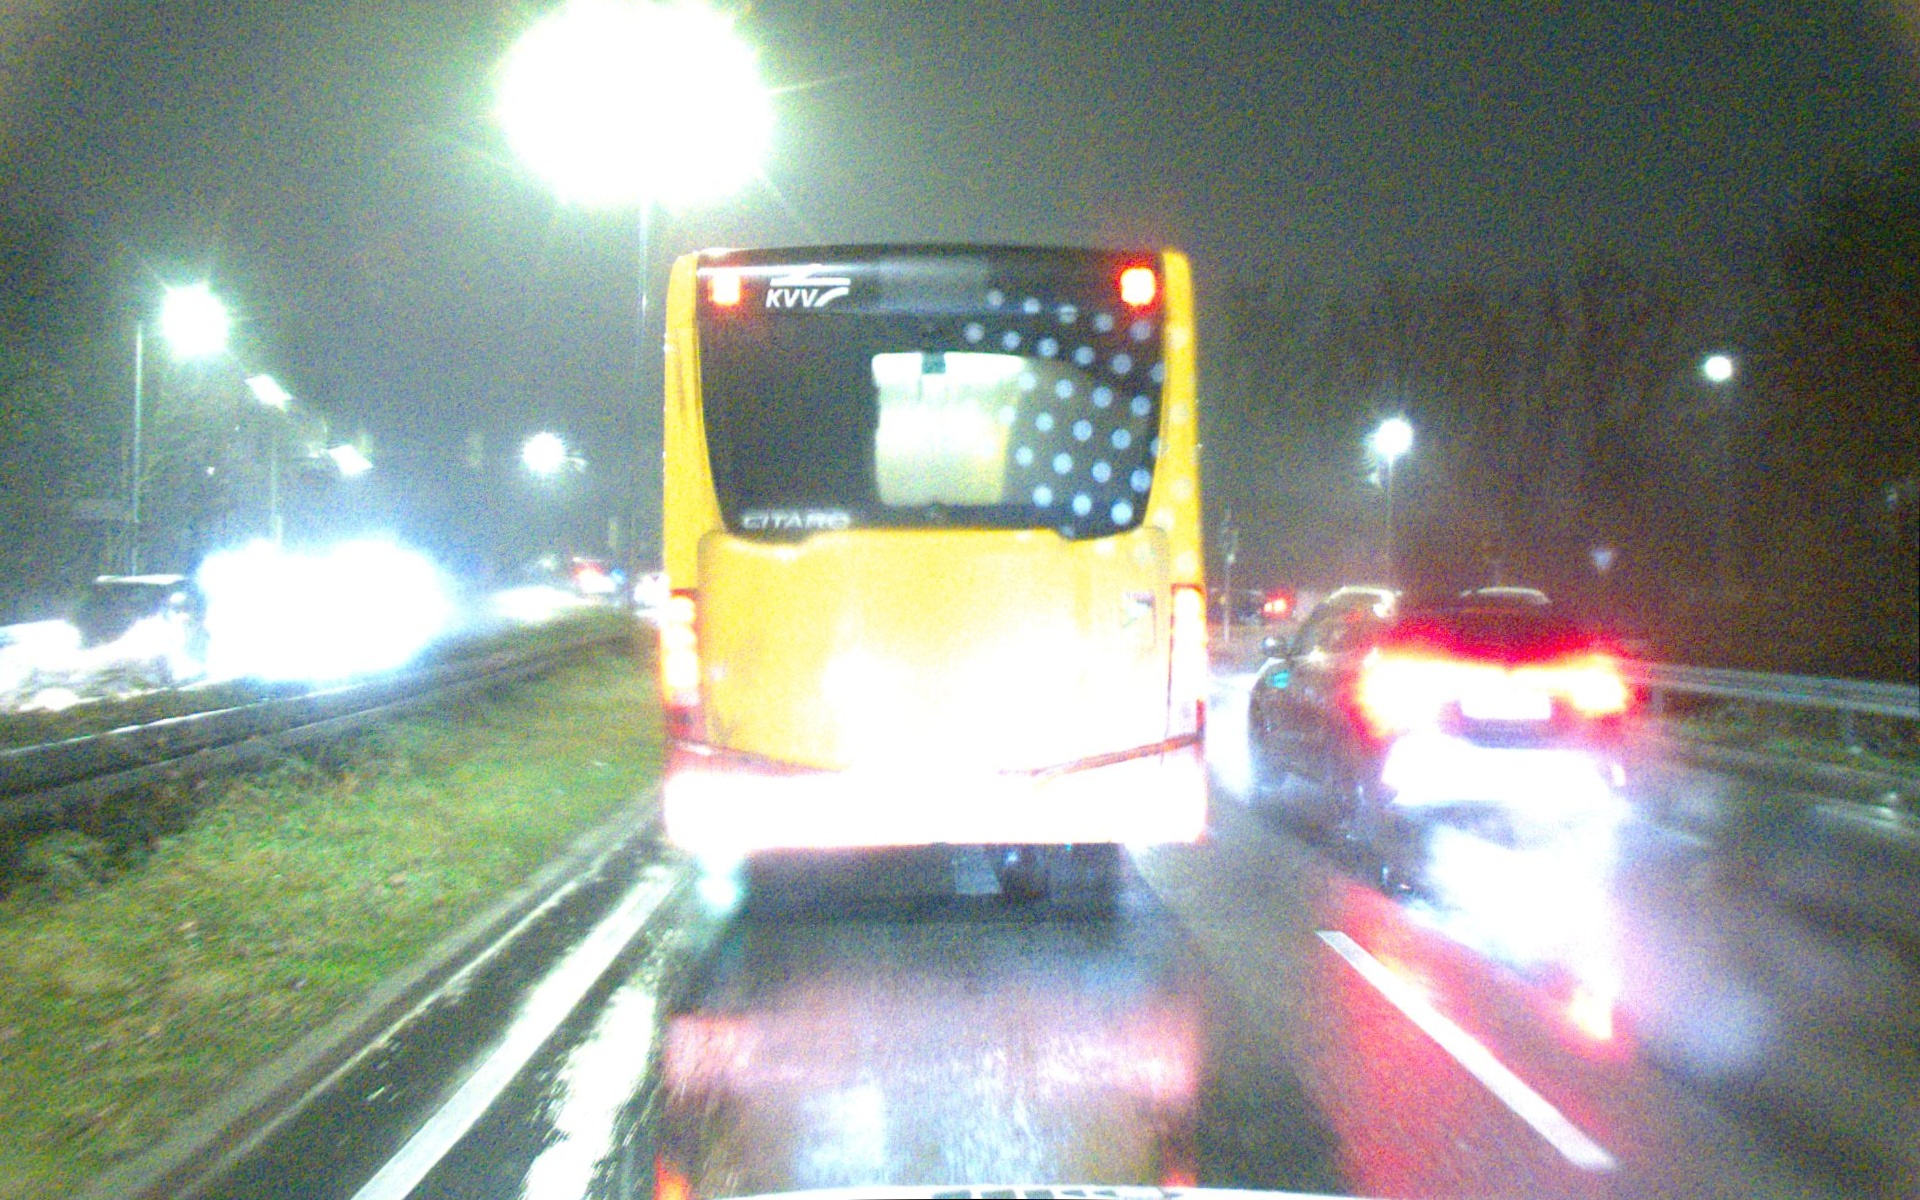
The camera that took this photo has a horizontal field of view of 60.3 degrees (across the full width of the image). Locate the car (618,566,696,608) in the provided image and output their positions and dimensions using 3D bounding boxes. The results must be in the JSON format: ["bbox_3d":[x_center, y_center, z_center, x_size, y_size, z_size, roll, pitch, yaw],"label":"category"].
[{"bbox_3d":[-12.735,-0.534,69.410,2.067,1.672,3.692,1,-1,-30],"label":"car"}]

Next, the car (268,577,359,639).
[{"bbox_3d":[-17.350,0.179,44.511,1.817,1.598,3.495,0,1,-14],"label":"car"}]

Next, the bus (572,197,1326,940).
[{"bbox_3d":[-0.396,-0.247,11.815,3.221,3.103,9.535,0,1,-5],"label":"bus"}]

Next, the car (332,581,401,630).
[{"bbox_3d":[-20.547,0.184,57.391,1.744,1.621,4.544,-1,0,-14],"label":"car"}]

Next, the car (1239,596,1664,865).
[{"bbox_3d":[3.217,0.783,11.648,1.643,1.548,3.958,1,-1,-3],"label":"car"}]

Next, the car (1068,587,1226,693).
[{"bbox_3d":[2.696,0.538,24.615,1.653,1.353,3.958,2,1,-3],"label":"car"}]

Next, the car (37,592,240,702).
[{"bbox_3d":[-13.454,0.709,27.371,1.732,1.659,4.242,0,0,-8],"label":"car"}]

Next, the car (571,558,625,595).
[{"bbox_3d":[-18.176,-1.148,82.927,1.967,1.751,3.971,1,-1,-23],"label":"car"}]

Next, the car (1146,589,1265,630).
[{"bbox_3d":[8.935,0.346,60.372,3.966,1.369,1.744,1,2,-8],"label":"car"}]

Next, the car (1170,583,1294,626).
[{"bbox_3d":[10.619,0.171,64.741,4.398,1.545,1.854,1,2,-8],"label":"car"}]

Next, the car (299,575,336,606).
[{"bbox_3d":[-33.049,-0.471,85.175,1.716,1.528,3.975,0,0,-21],"label":"car"}]
